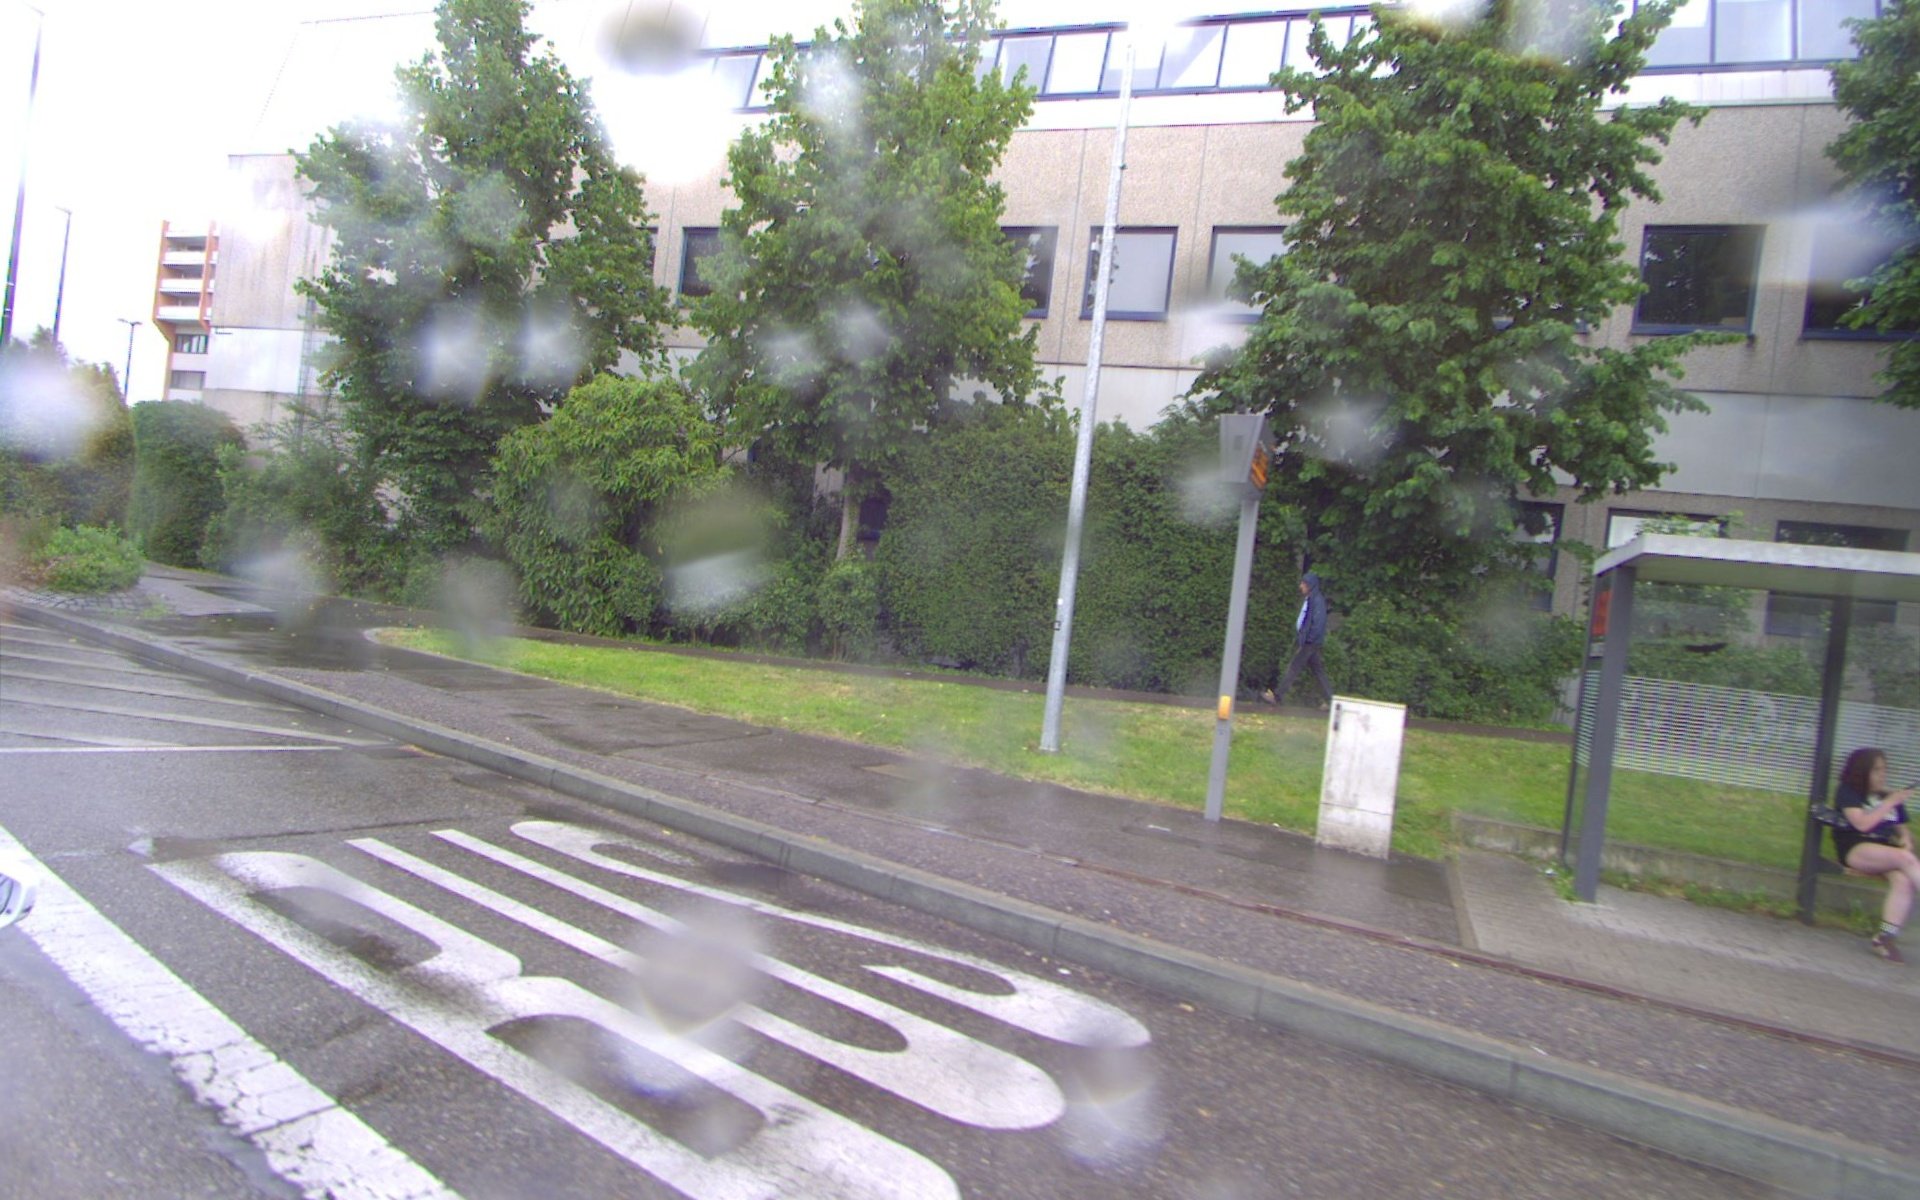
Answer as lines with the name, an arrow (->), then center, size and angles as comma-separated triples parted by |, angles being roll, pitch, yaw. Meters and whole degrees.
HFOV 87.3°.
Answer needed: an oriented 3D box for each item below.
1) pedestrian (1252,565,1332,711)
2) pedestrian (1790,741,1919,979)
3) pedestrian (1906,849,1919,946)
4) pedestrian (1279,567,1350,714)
pedestrian -> 4.470, 0.517, 13.504 | 0.782, 1.817, 0.850 | 7, 0, 21
pedestrian -> 6.127, 1.672, 6.548 | 0.679, 1.298, 1.032 | 7, 2, 21
pedestrian -> 6.867, 1.768, 6.453 | 0.679, 1.298, 1.032 | 7, 2, 21
pedestrian -> 4.656, 0.529, 13.235 | 0.661, 1.819, 0.674 | 7, 0, 19
